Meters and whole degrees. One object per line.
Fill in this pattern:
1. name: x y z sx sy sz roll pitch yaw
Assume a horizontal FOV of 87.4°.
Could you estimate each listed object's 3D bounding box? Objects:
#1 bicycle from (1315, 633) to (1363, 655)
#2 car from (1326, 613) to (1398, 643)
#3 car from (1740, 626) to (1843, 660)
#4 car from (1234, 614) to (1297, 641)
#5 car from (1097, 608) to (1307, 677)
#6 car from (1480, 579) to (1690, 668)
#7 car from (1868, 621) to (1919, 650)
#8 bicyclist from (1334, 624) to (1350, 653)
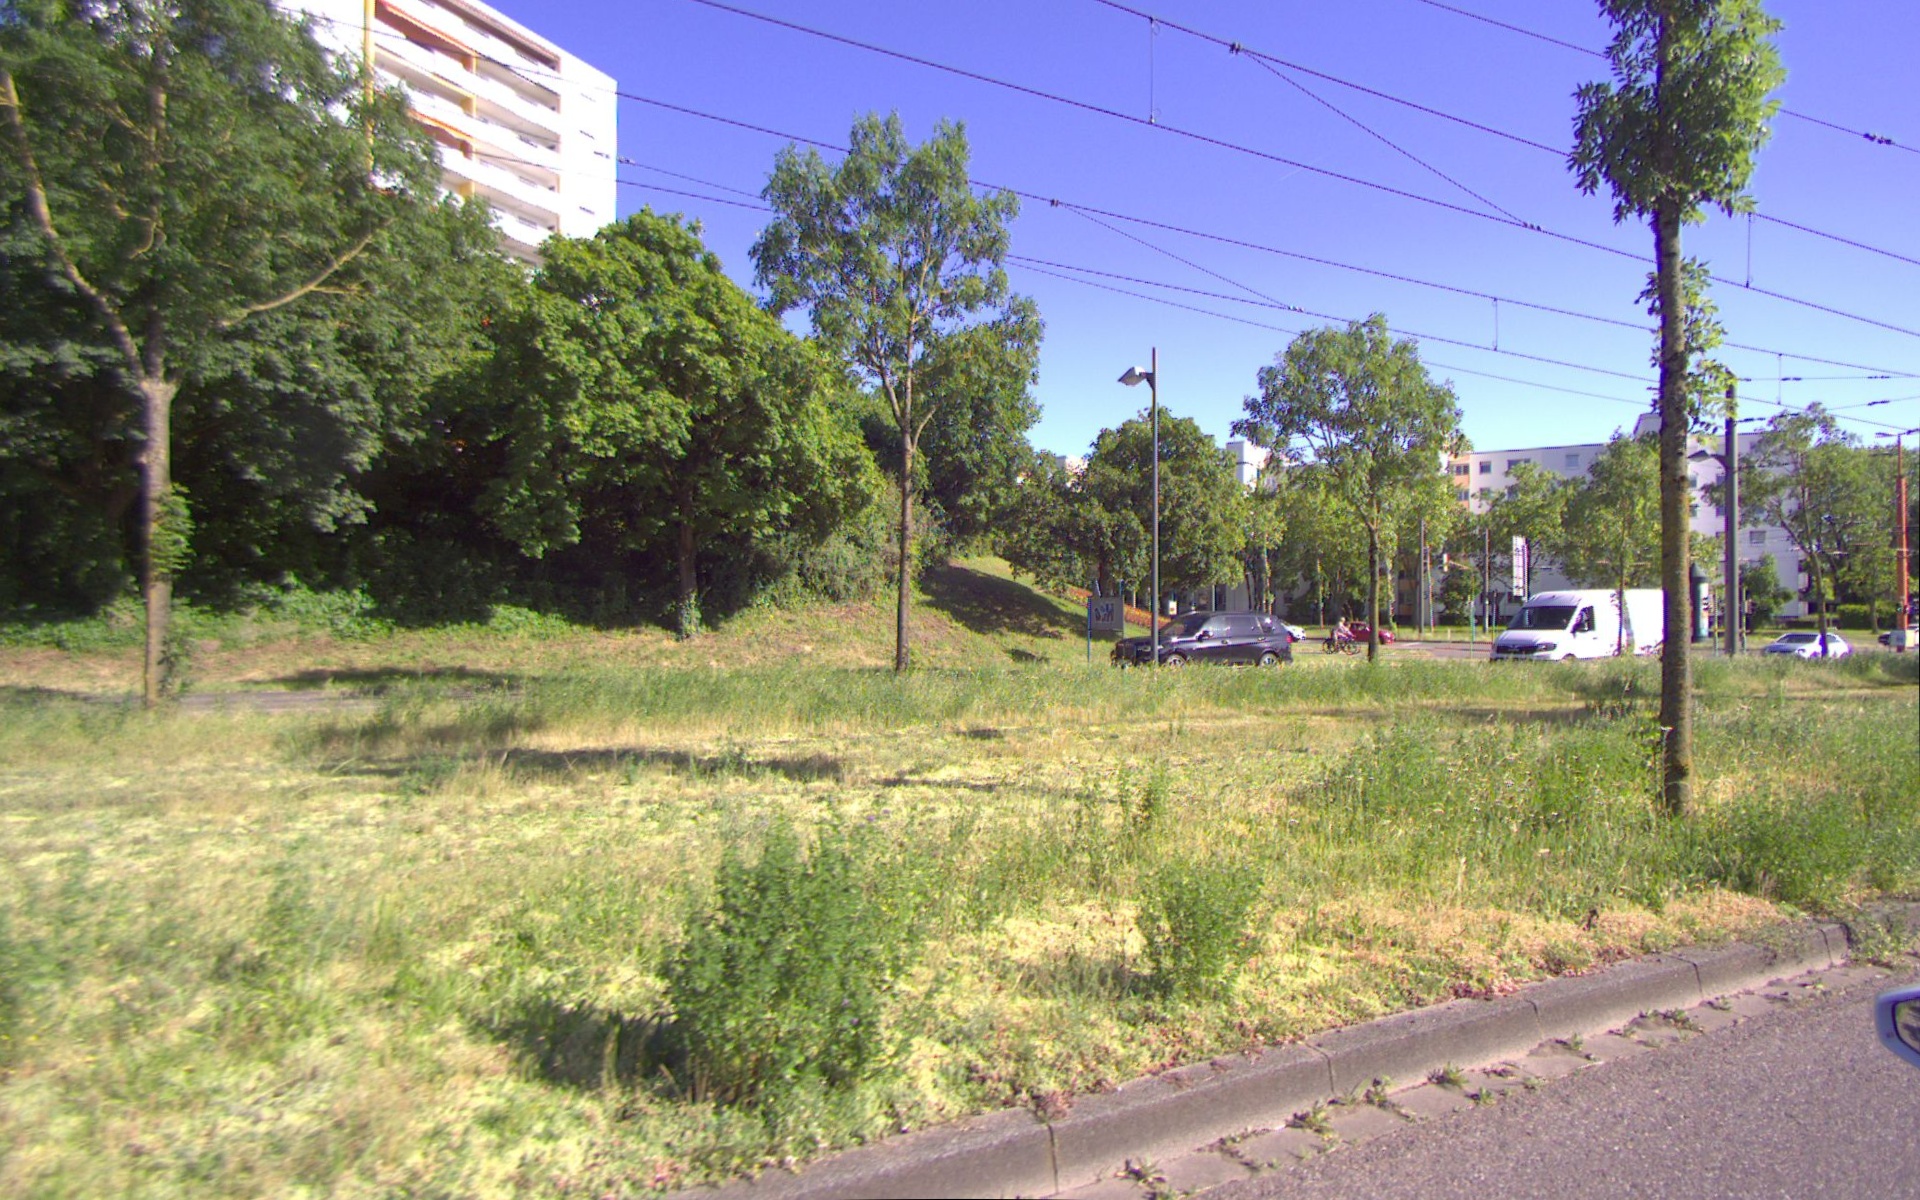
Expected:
1. bicycle: 19.813 2.286 52.518 2.314 1.095 0.474 1 0 19
2. car: 27.137 1.868 67.801 4.202 1.926 1.995 1 0 33
3. car: 34.128 1.746 41.242 3.947 1.310 1.792 1 0 -26
4. car: 21.942 1.969 72.137 3.932 1.773 1.907 1 0 33
5. car: 6.251 1.055 25.801 5.204 1.605 1.986 1 0 -27
6. car: 18.423 0.686 29.489 6.791 2.400 2.032 1 0 -27
7. car: 69.269 2.586 73.093 4.318 2.040 2.001 0 -1 8
8. bicyclist: 19.947 2.016 52.470 0.742 1.449 0.752 1 0 20
